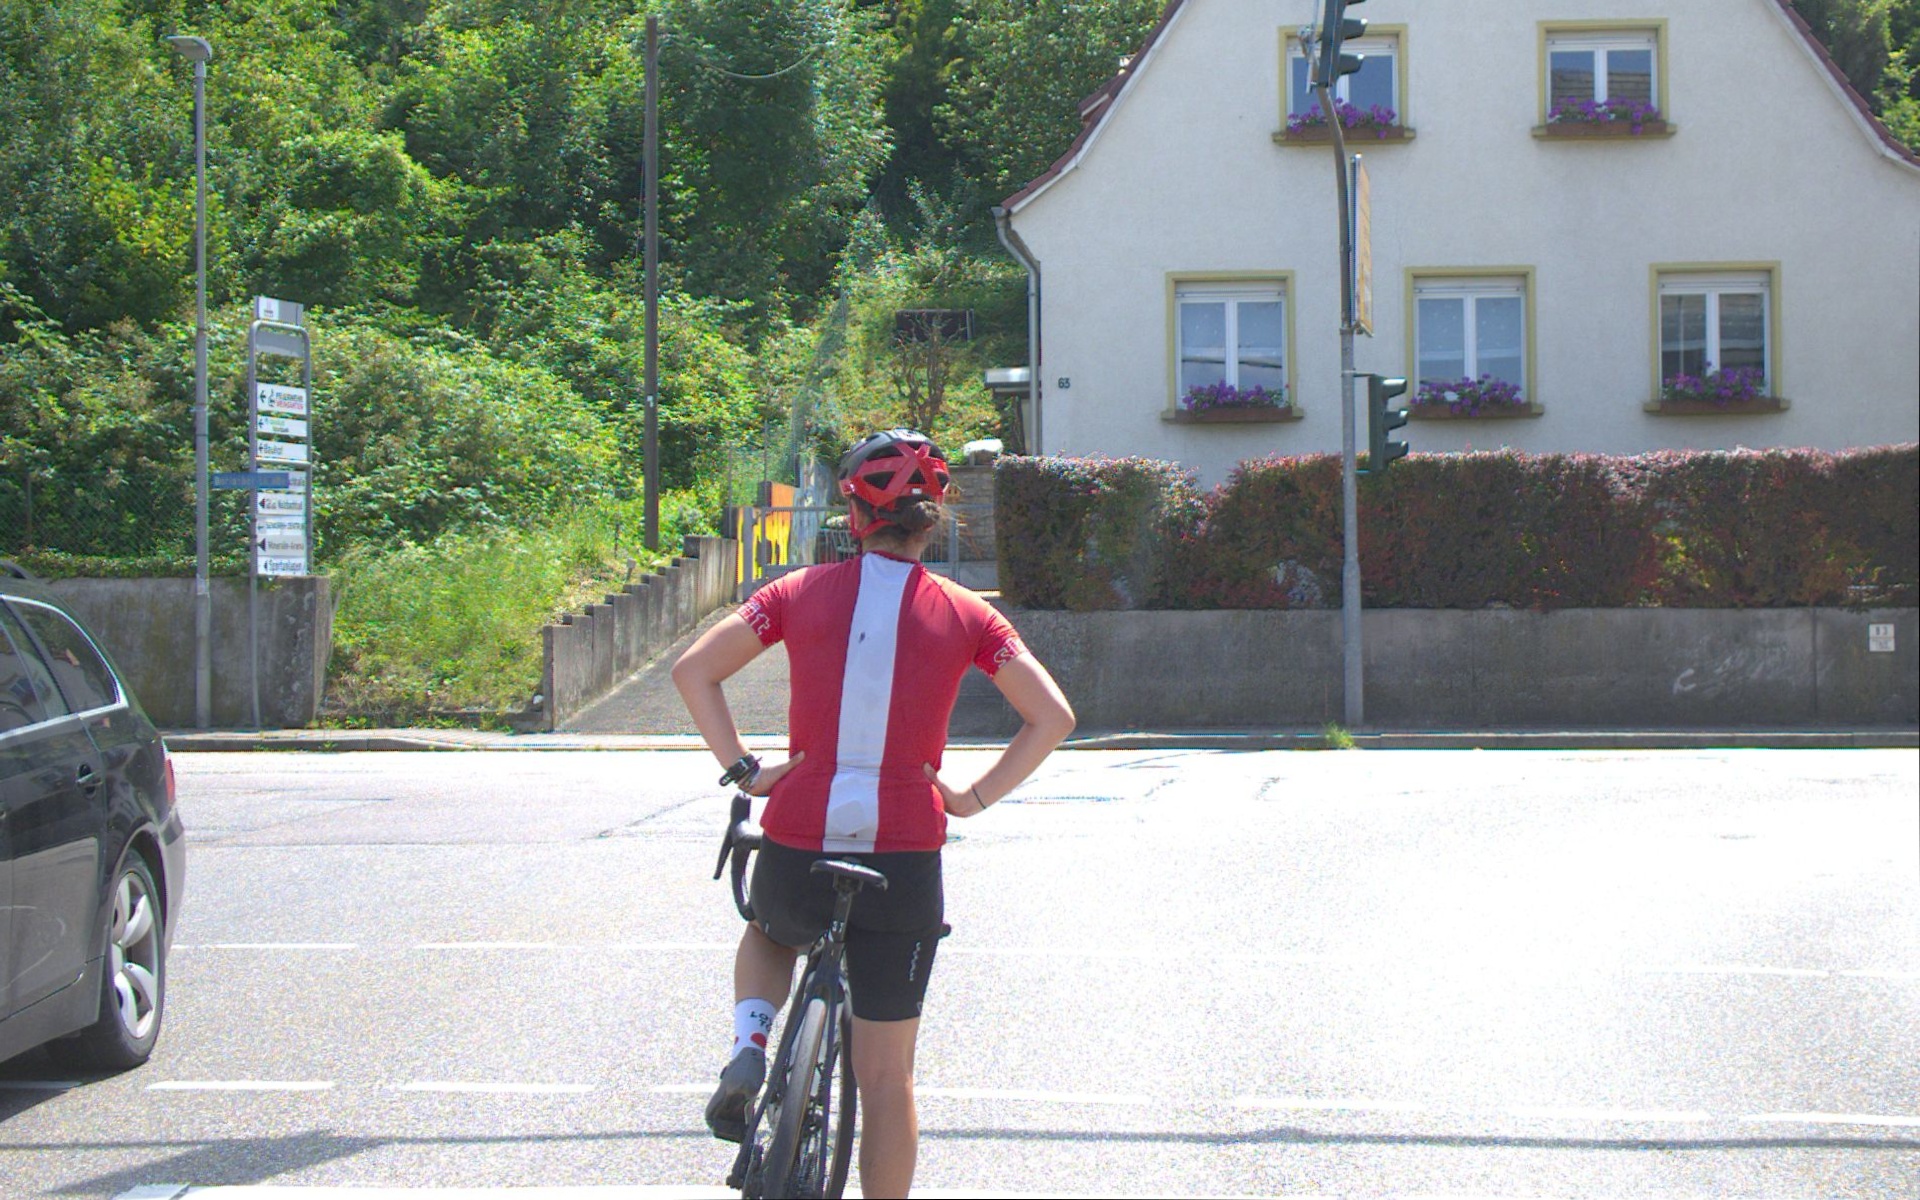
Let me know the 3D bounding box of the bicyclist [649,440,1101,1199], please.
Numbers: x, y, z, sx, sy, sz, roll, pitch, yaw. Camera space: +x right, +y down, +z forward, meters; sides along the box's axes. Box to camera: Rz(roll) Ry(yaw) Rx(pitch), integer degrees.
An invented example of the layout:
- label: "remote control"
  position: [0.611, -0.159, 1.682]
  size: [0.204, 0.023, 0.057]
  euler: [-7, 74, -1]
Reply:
- label: "bicyclist"
  position: [-0.188, 0.551, 6.438]
  size: [0.760, 1.659, 0.869]
  euler: [1, 1, -5]

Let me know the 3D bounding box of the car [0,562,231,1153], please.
- label: "car"
  position: [-3.310, 0.666, 8.352]
  size: [1.863, 1.437, 4.671]
  euler: [-2, 1, 3]

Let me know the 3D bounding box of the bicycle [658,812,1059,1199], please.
- label: "bicycle"
  position: [-0.237, 0.915, 6.434]
  size: [0.629, 0.902, 1.657]
  euler: [1, 1, -5]
